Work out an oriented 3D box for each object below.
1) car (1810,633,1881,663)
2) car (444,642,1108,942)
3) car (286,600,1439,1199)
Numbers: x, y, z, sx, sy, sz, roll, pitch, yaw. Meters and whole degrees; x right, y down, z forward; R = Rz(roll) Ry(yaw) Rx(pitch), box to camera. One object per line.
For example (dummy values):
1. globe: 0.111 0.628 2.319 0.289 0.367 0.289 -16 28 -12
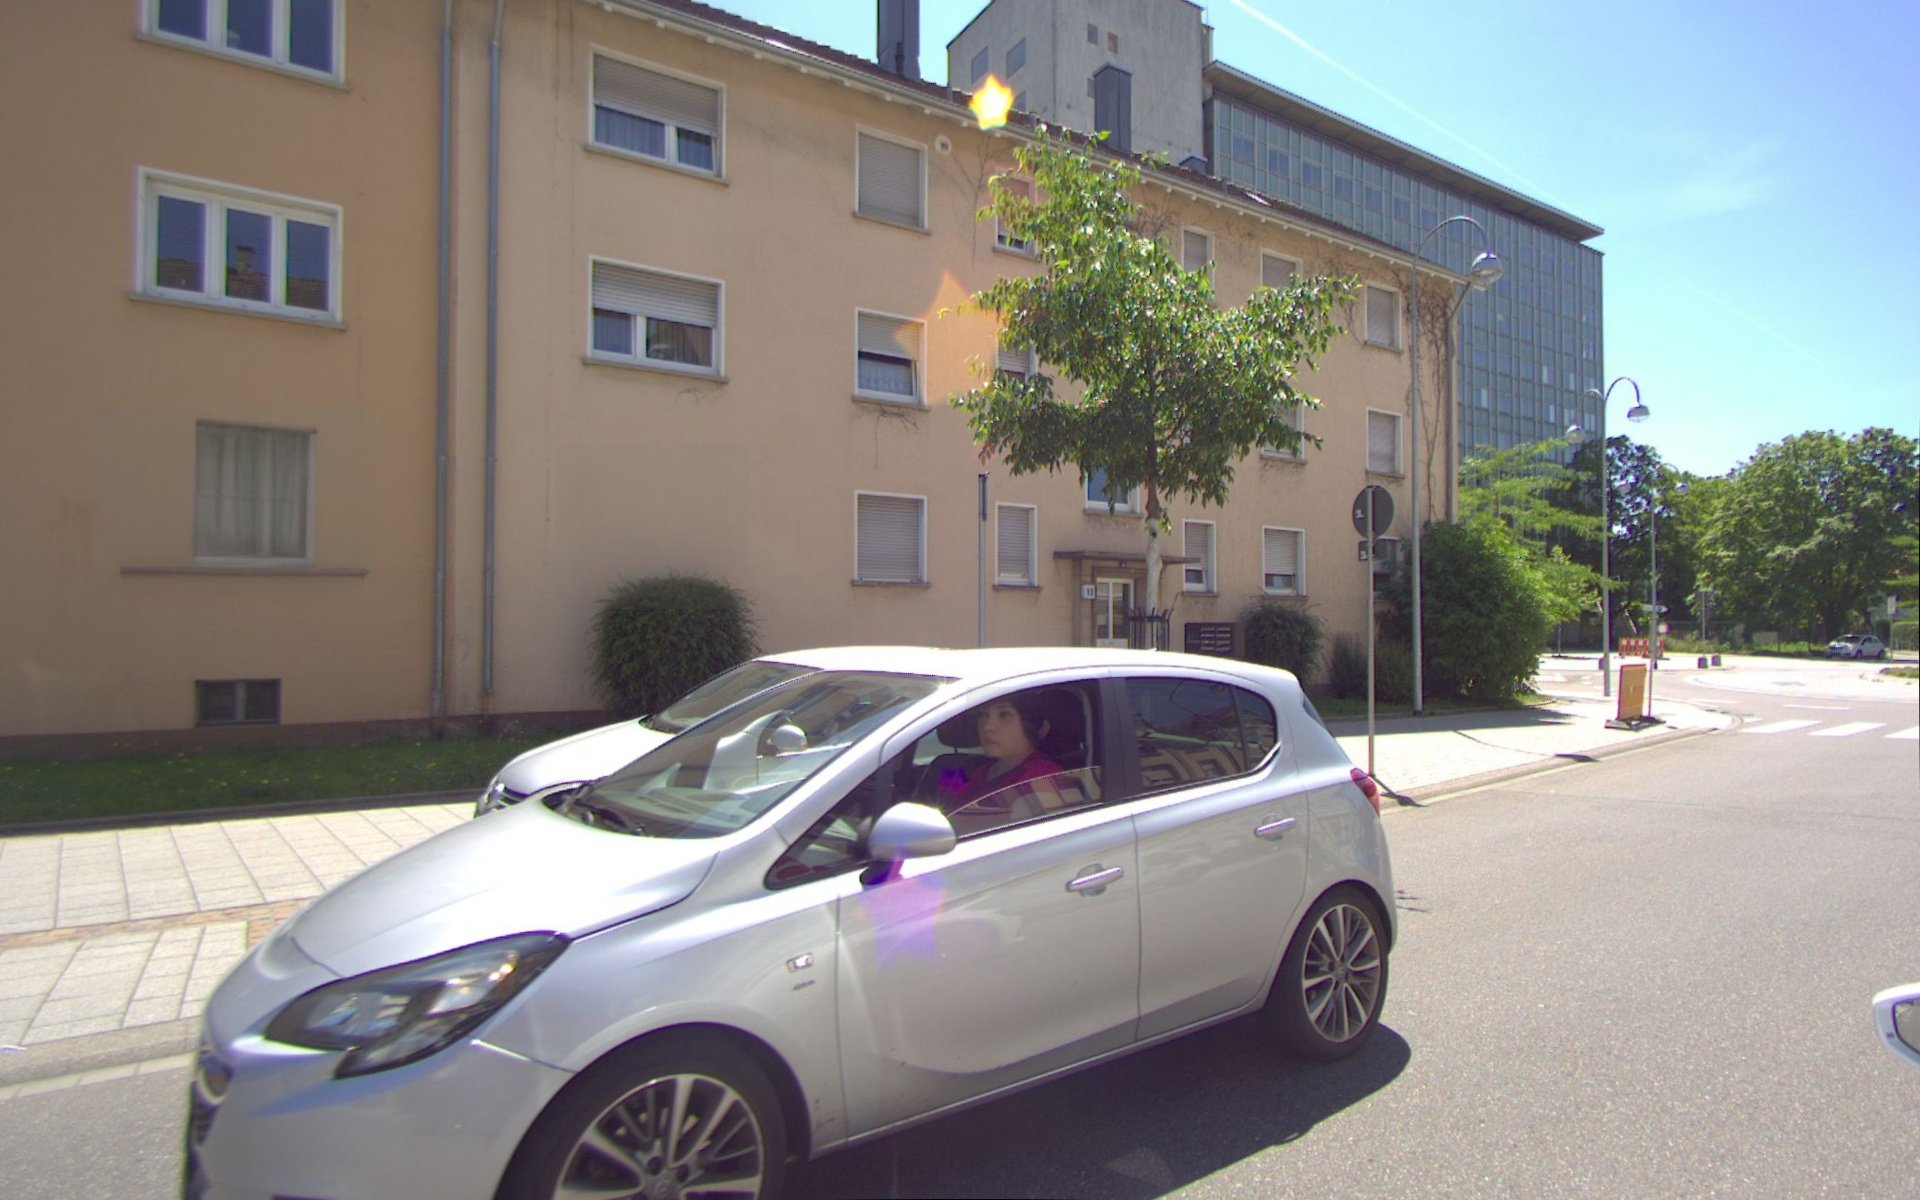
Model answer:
1. car: 54.897 2.991 62.284 3.865 1.618 1.781 4 -3 -23
2. car: -1.117 1.039 6.918 4.051 1.438 1.979 3 -3 -37
3. car: -0.108 0.842 3.547 3.722 1.516 1.649 2 -3 -35
